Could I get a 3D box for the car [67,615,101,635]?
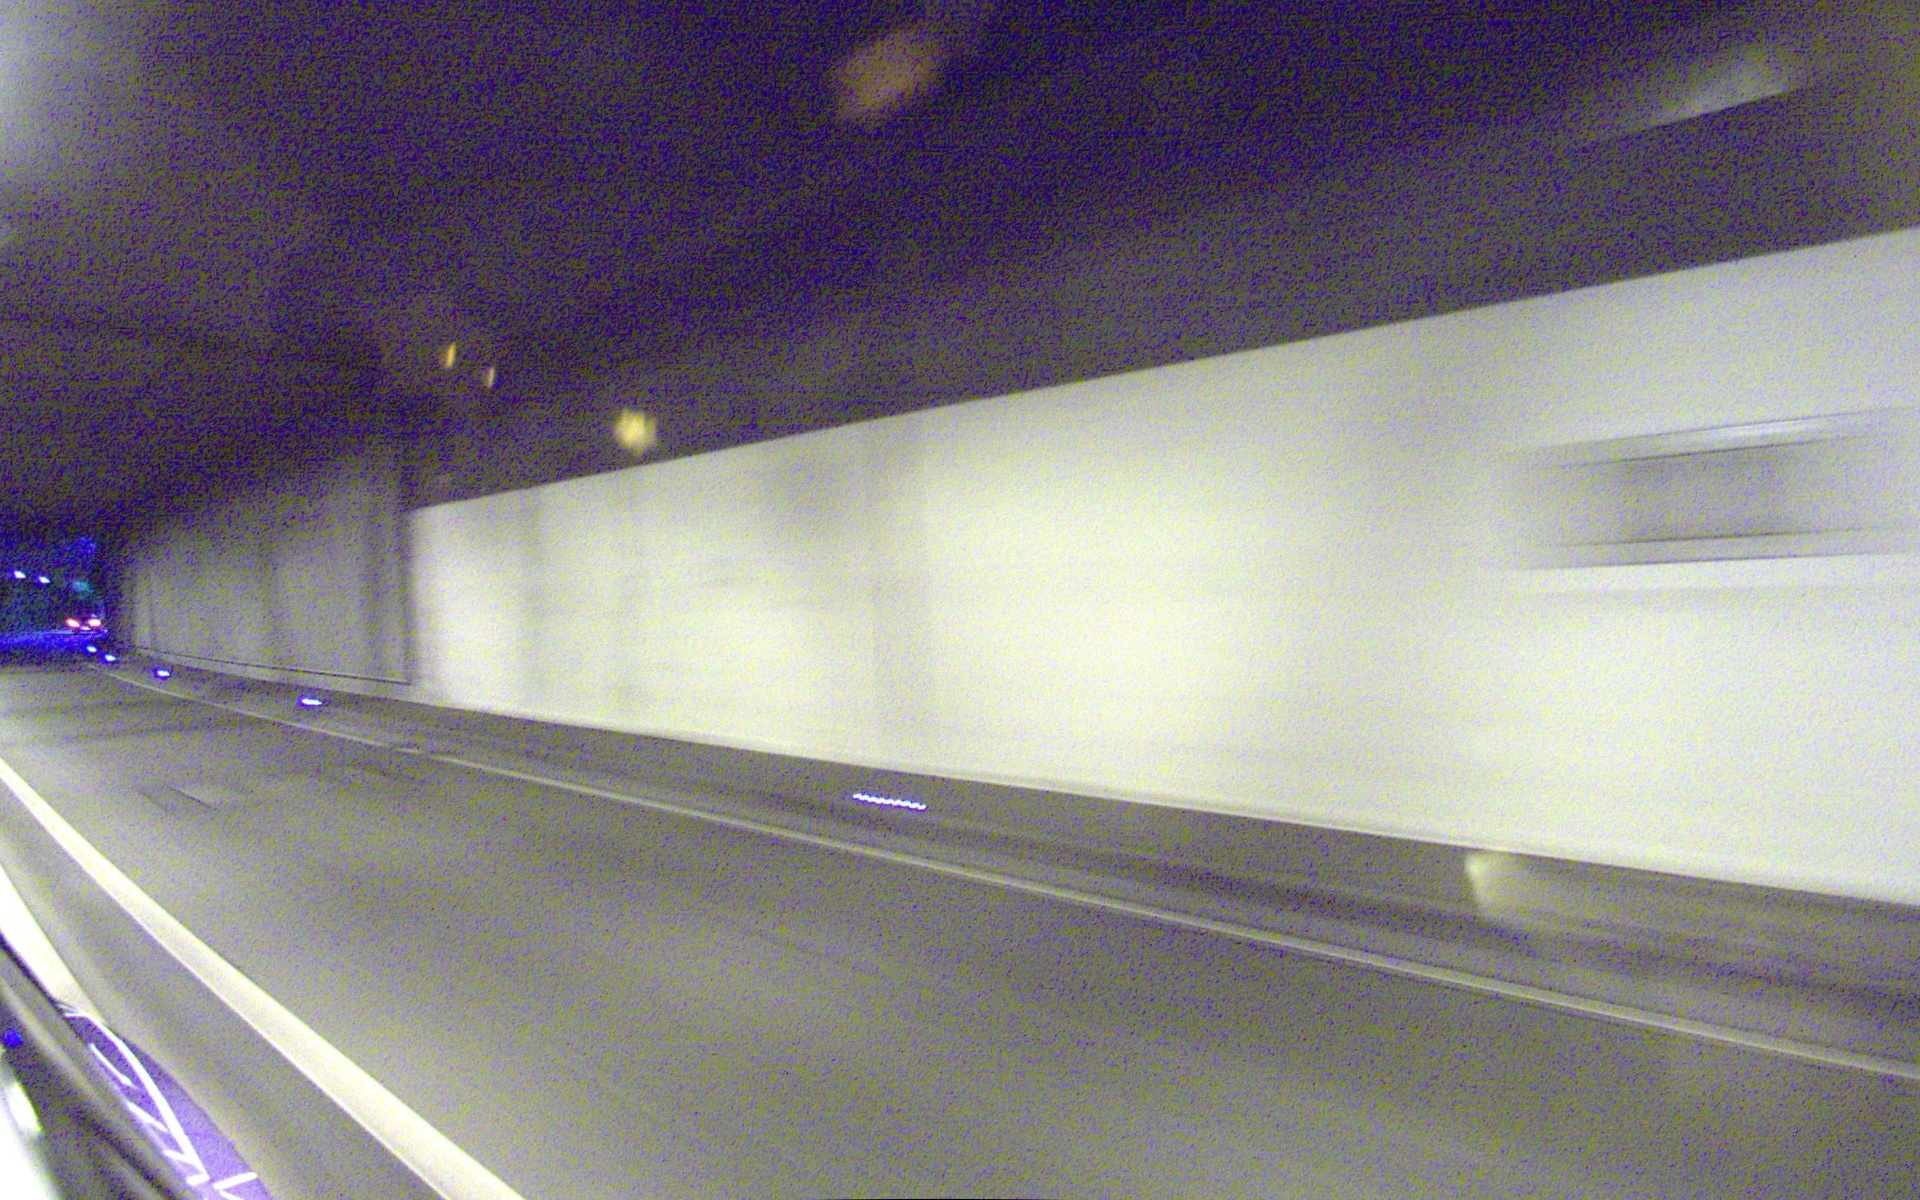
[{"bbox_3d":[-67.911,1.910,78.466,1.694,1.453,4.402,-3,1,-38],"label":"car"}]
